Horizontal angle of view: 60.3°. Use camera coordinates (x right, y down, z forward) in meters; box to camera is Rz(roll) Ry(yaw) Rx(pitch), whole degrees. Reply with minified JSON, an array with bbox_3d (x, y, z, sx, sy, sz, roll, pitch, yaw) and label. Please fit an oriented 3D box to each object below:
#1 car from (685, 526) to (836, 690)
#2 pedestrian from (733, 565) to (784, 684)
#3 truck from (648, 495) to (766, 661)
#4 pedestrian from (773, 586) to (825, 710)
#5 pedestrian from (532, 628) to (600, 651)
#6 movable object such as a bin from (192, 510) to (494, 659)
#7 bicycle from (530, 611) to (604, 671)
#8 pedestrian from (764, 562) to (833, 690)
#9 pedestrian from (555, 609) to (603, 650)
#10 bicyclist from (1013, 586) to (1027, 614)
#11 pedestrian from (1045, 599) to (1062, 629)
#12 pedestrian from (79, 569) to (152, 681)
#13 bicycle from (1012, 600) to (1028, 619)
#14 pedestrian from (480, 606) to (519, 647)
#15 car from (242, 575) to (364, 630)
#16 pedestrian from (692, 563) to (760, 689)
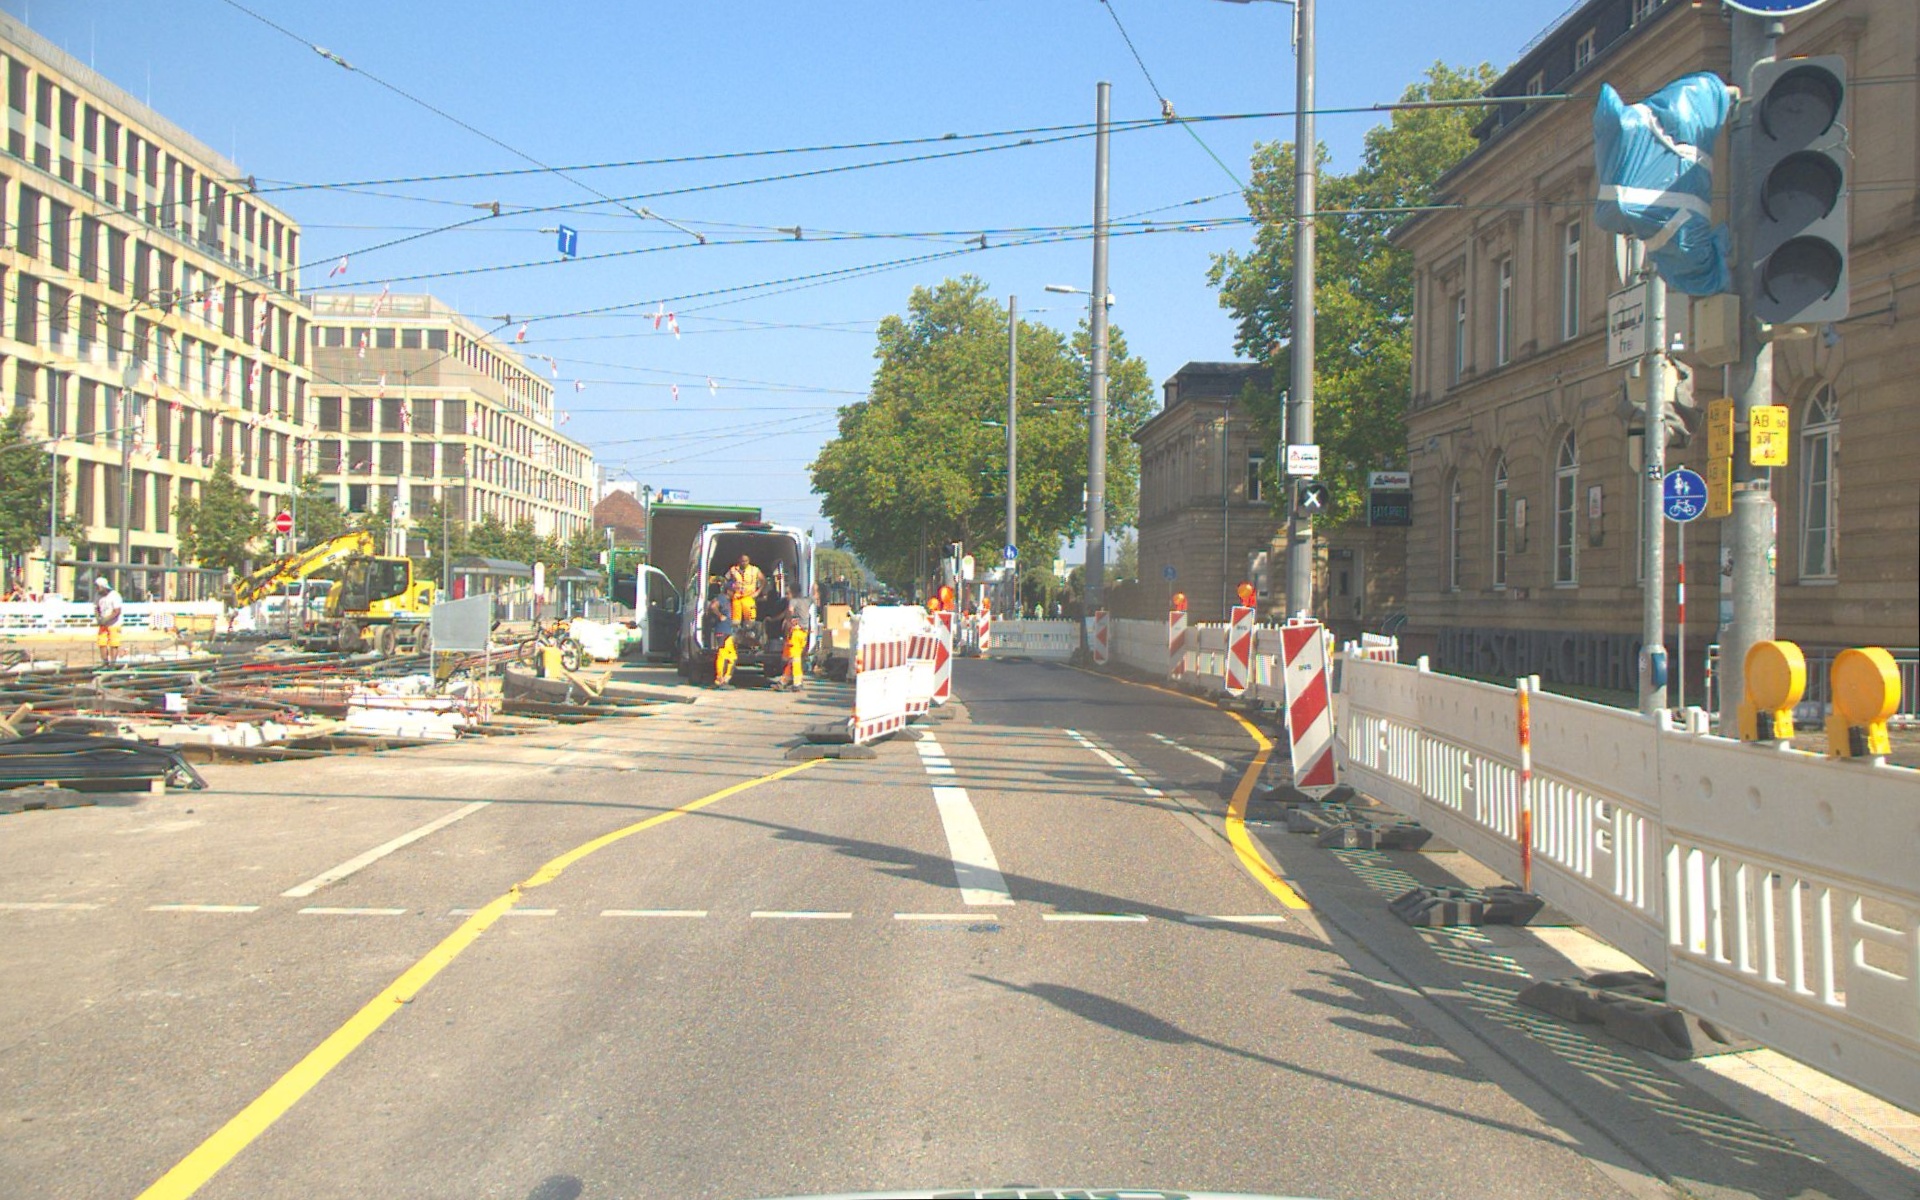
[{"bbox_3d":[-3.807,0.166,30.719,2.187,2.777,5.152,1,-1,-13],"label":"car"},{"bbox_3d":[-3.518,0.417,28.973,0.718,2.049,0.907,0,-1,3],"label":"pedestrian"},{"bbox_3d":[-6.496,-0.484,41.654,2.626,3.743,8.192,1,0,-11],"label":"truck"},{"bbox_3d":[-2.704,0.794,27.907,0.718,2.049,0.908,0,-1,4],"label":"pedestrian"},{"bbox_3d":[-12.175,1.222,51.120,1.862,0.647,0.912,1,0,1],"label":"pedestrian"},{"bbox_3d":[-18.410,-0.423,50.246,3.432,4.083,9.041,0,0,21],"label":"movable object such as a bin"},{"bbox_3d":[-7.907,0.816,33.268,1.631,1.156,0.614,0,-1,41],"label":"bicycle"},{"bbox_3d":[-2.629,0.422,26.990,0.720,2.049,0.905,0,-1,31],"label":"pedestrian"},{"bbox_3d":[-12.538,0.952,54.441,1.285,1.329,0.798,0,0,22],"label":"pedestrian"},{"bbox_3d":[3.413,0.009,94.518,0.703,1.570,0.955,1,0,-5],"label":"bicyclist"},{"bbox_3d":[5.397,0.808,95.400,0.802,1.716,1.012,-3,0,-2],"label":"pedestrian"},{"bbox_3d":[-14.825,0.437,29.018,1.008,1.898,1.132,1,-1,-33],"label":"pedestrian"},{"bbox_3d":[3.414,0.523,94.521,0.703,1.060,1.901,1,0,-4],"label":"bicycle"},{"bbox_3d":[-15.352,0.876,55.119,0.994,1.329,0.983,0,0,1],"label":"pedestrian"},{"bbox_3d":[-25.761,0.067,65.051,1.772,2.065,5.123,1,1,14],"label":"car"},{"bbox_3d":[-3.882,0.426,27.498,0.720,2.049,0.905,0,-1,29],"label":"pedestrian"}]
